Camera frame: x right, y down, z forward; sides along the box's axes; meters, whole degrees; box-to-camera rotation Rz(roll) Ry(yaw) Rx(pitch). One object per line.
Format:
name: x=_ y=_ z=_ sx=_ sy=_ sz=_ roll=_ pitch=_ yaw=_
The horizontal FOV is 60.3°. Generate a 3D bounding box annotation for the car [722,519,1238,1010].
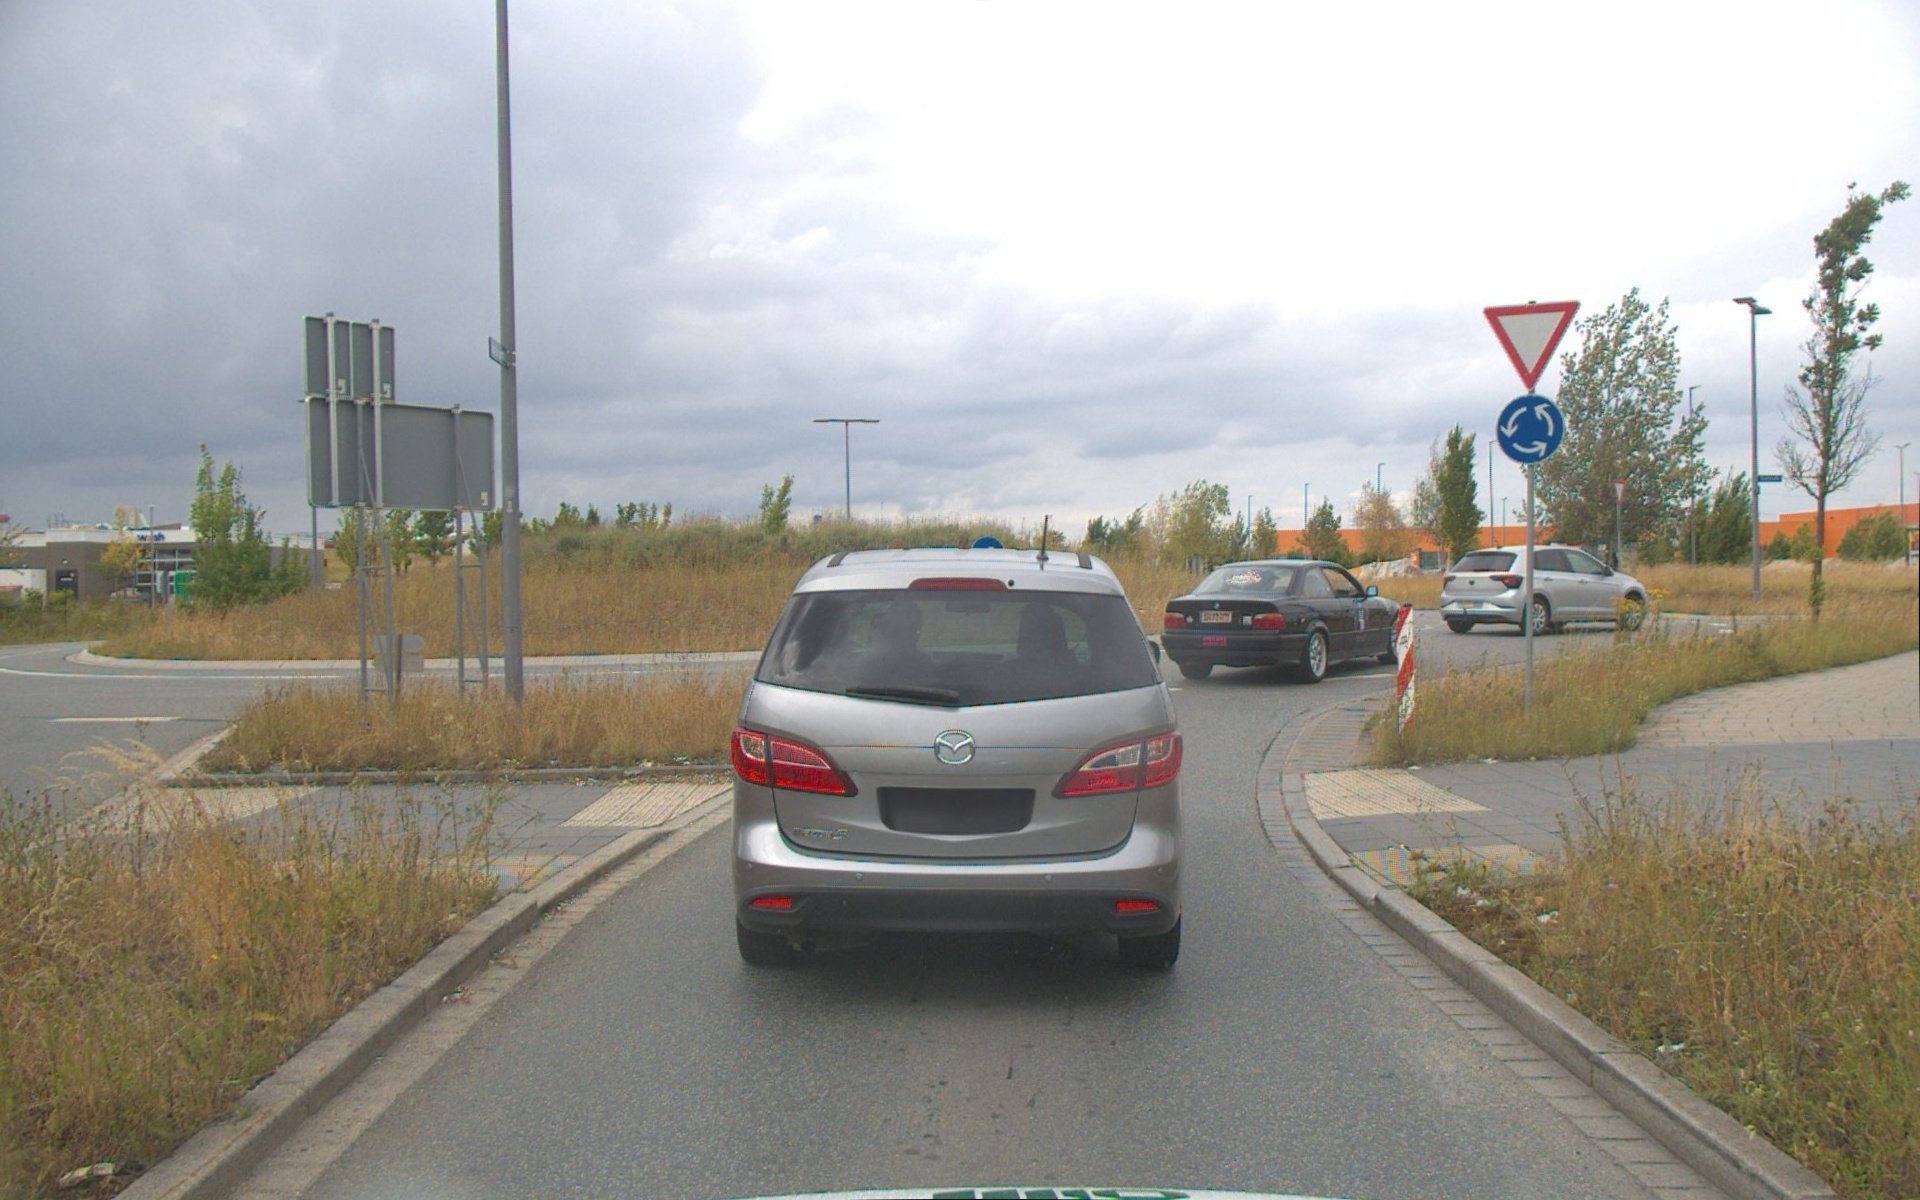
car: x=0.011 y=0.523 z=7.516 sx=1.703 sy=1.626 sz=3.996 roll=1 pitch=1 yaw=-2

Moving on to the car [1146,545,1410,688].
car: x=3.859 y=0.103 z=19.607 sx=1.707 sy=1.428 sz=3.987 roll=2 pitch=4 yaw=33

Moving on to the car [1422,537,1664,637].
car: x=9.895 y=-0.272 z=28.013 sx=3.947 sy=1.489 sz=1.795 roll=-2 pitch=4 yaw=-31
